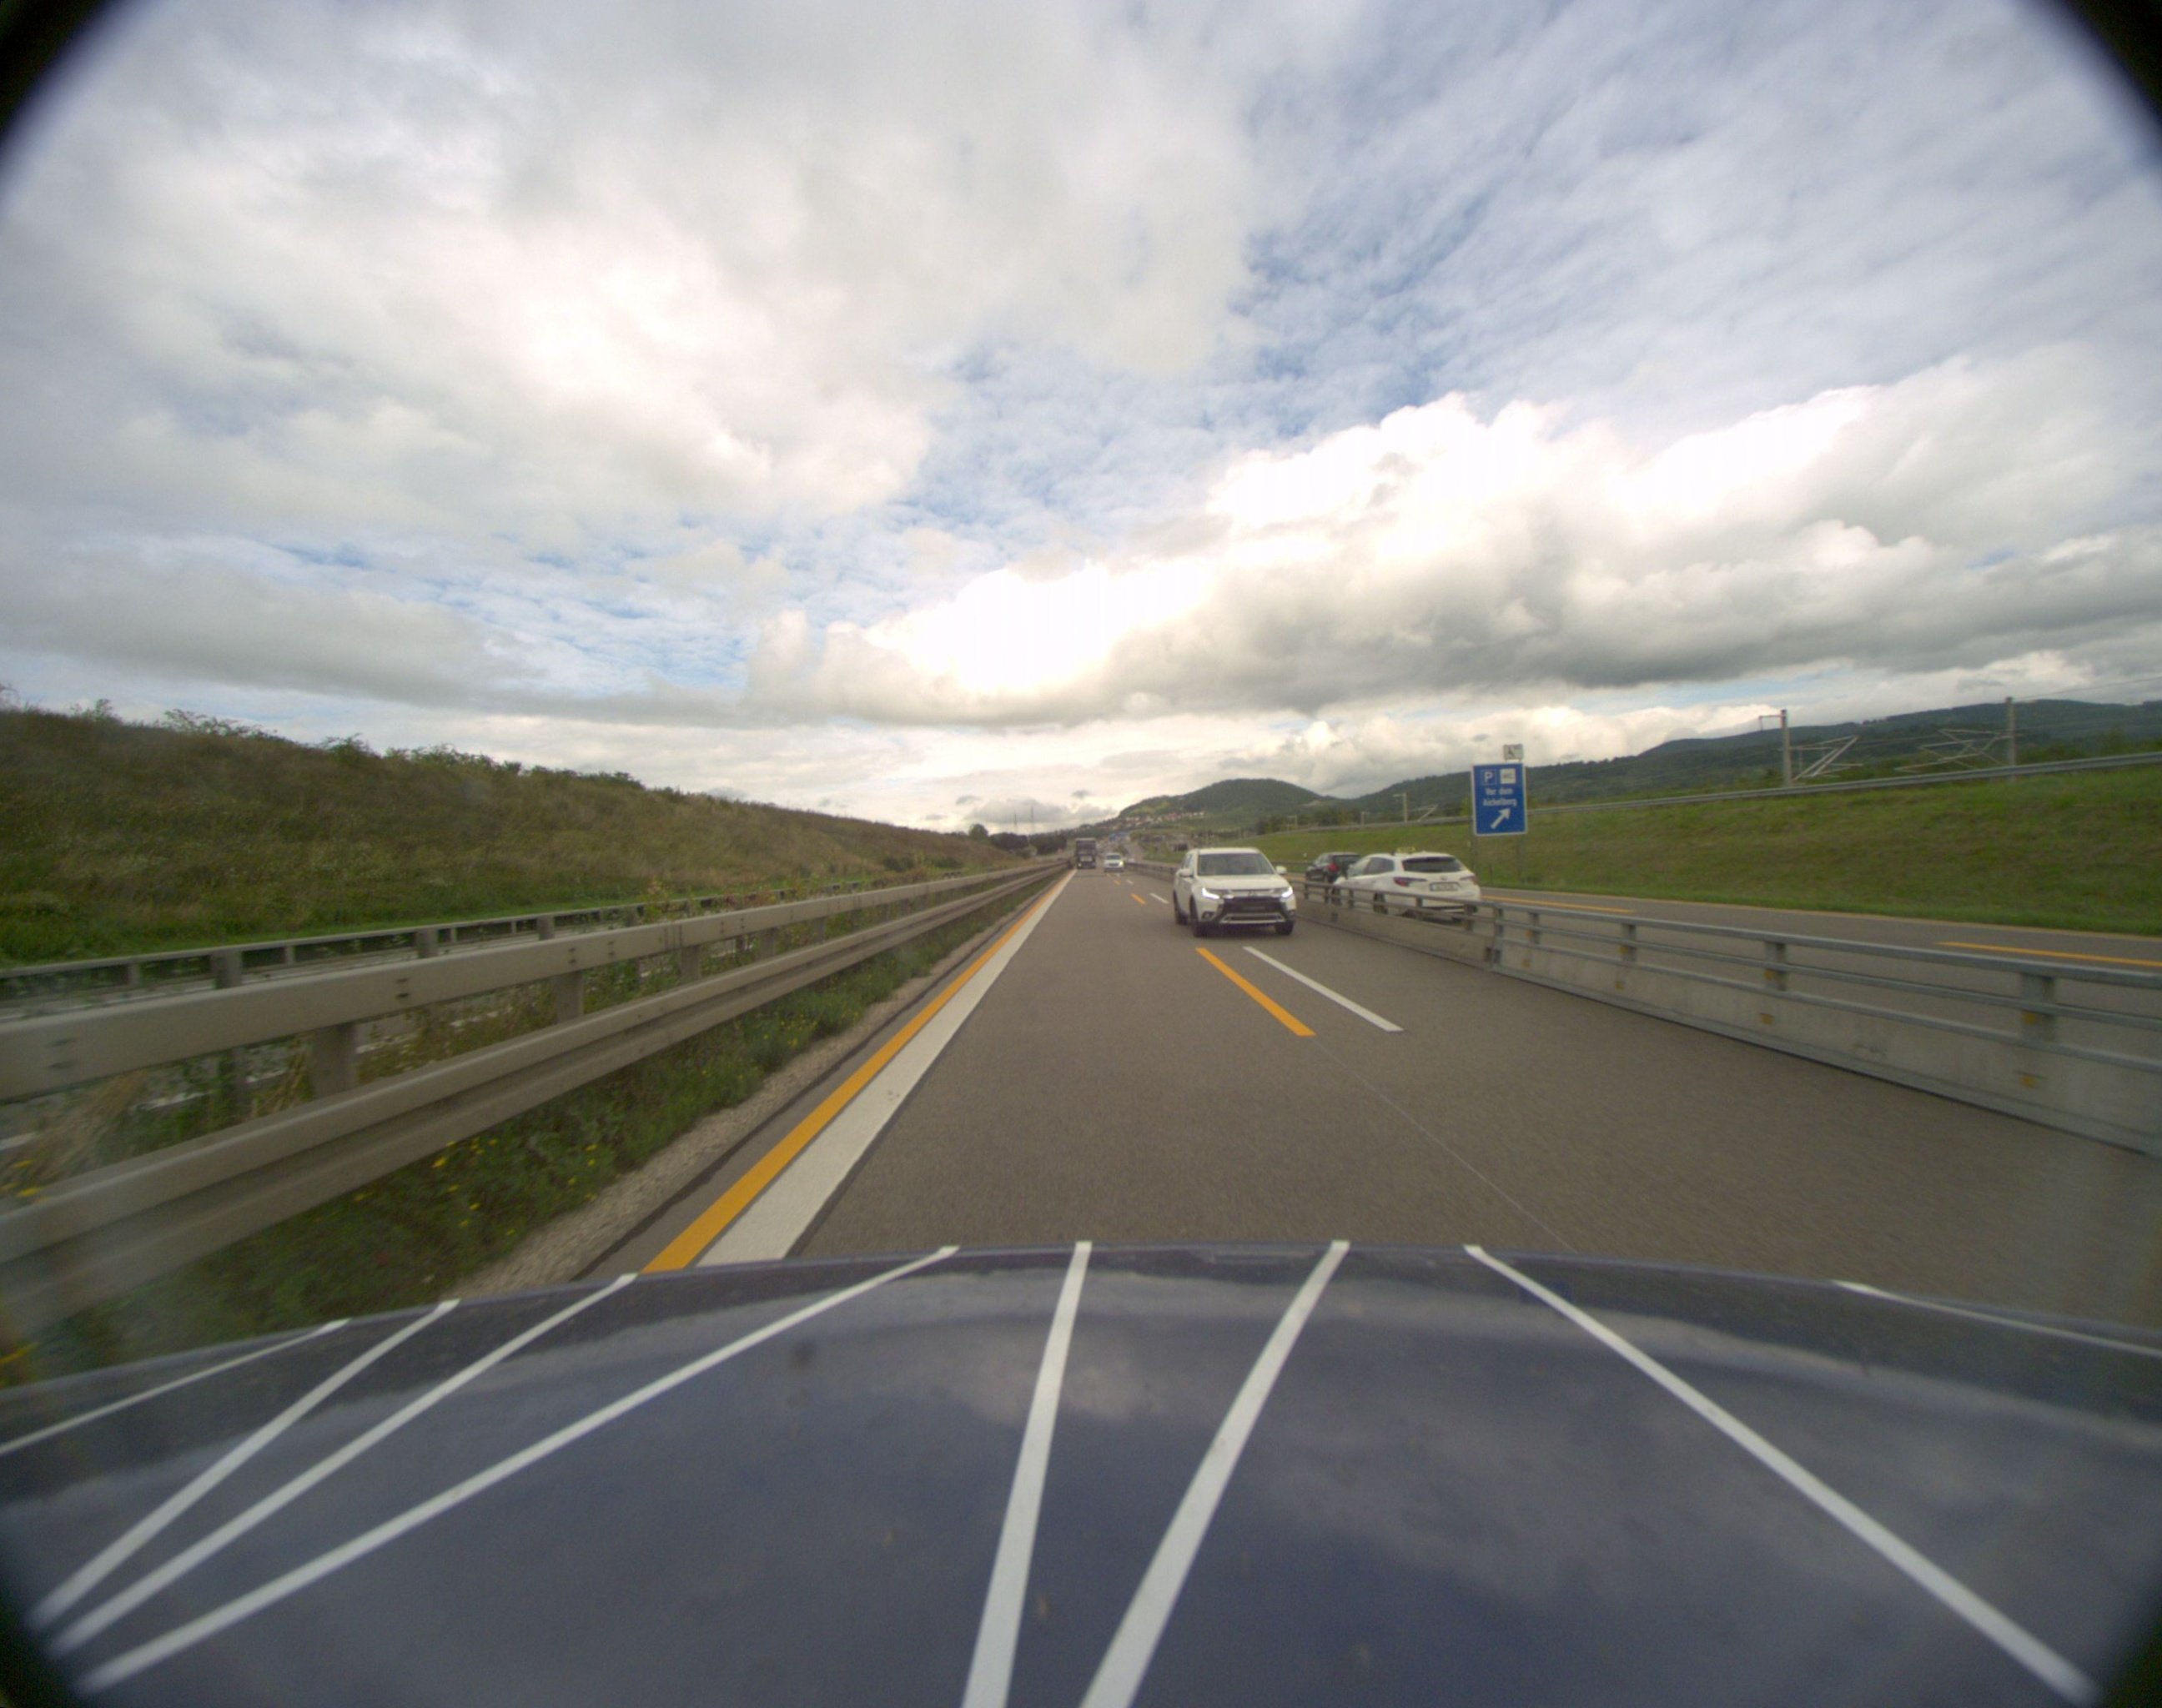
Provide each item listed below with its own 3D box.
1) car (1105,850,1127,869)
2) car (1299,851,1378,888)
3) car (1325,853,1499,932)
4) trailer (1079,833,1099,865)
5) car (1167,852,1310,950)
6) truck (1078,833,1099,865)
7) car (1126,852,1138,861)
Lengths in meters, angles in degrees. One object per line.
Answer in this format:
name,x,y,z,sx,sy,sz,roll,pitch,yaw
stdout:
car,3.445,0.558,75.777,1.991,1.787,4.586,-2,0,1
car,10.479,0.592,31.221,1.762,1.380,3.999,-2,0,-1
car,6.793,0.714,16.148,1.762,1.380,4.326,-3,0,0
trailer,1.161,-0.668,105.203,2.521,4.081,11.113,-2,0,1
car,2.936,0.800,15.201,1.998,1.618,4.607,-1,0,2
truck,1.028,-0.632,100.002,2.521,4.081,5.685,-2,1,1
car,8.090,0.435,120.285,1.761,1.380,4.000,-2,0,1
